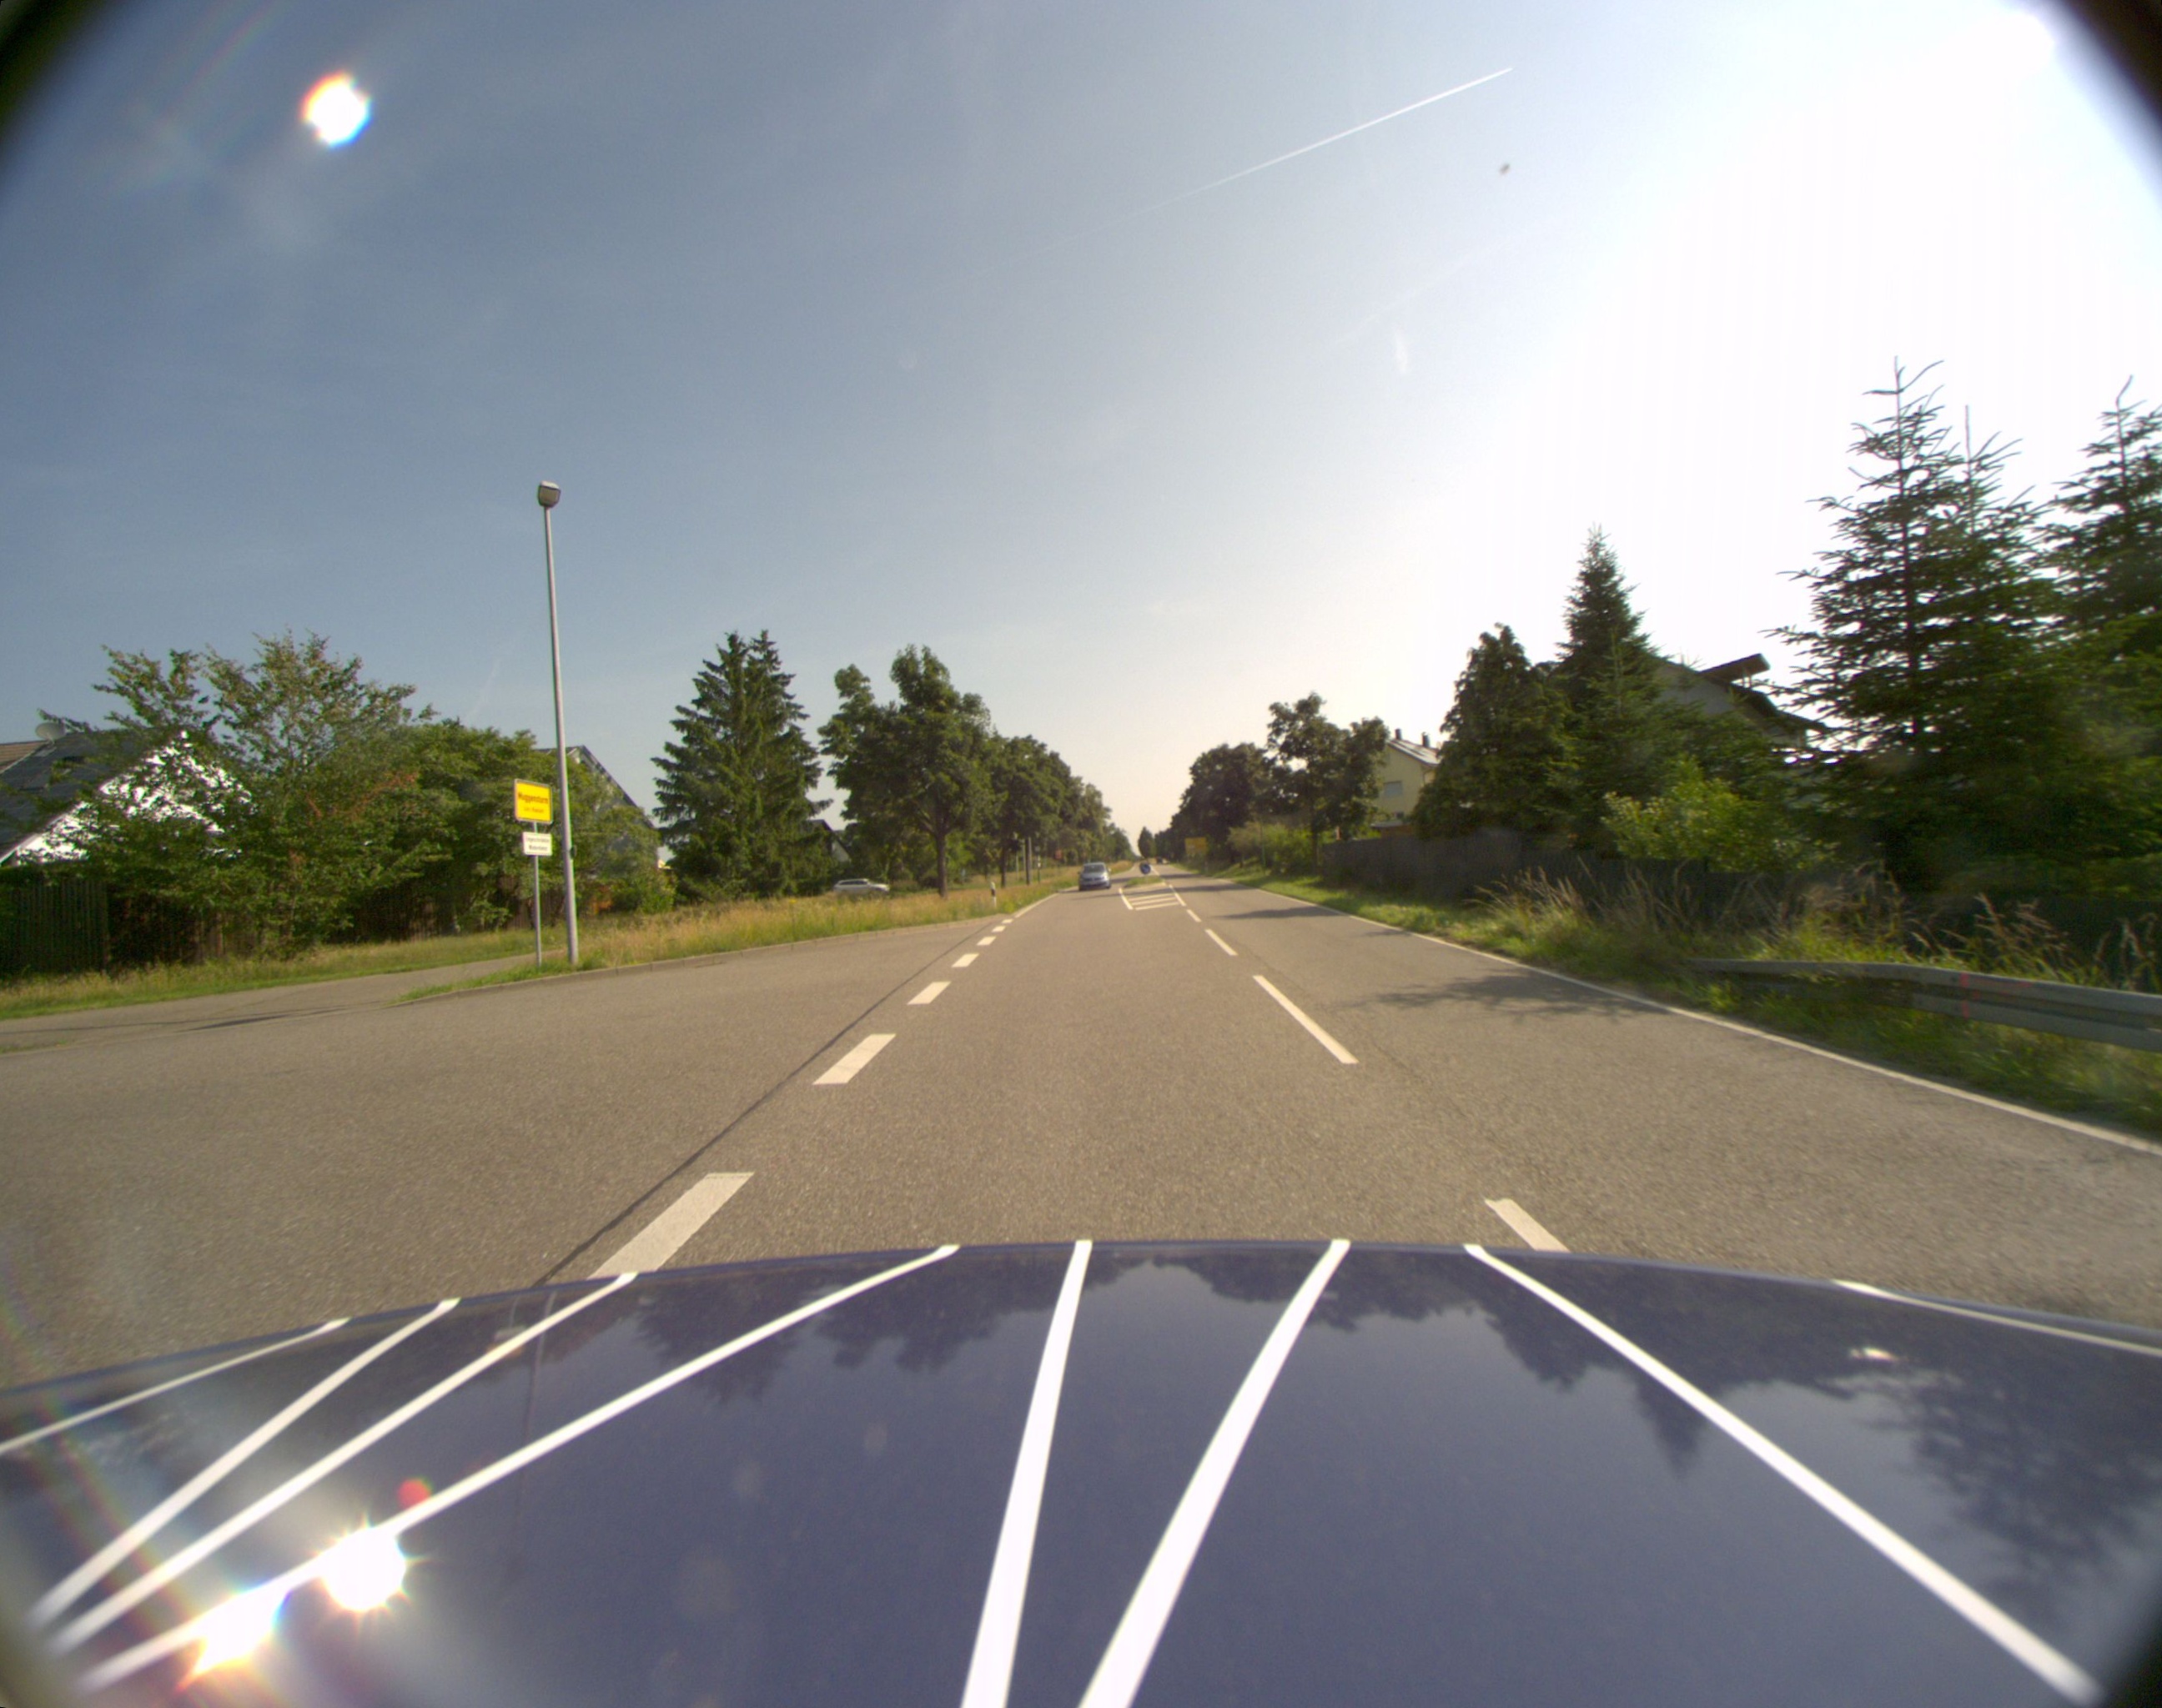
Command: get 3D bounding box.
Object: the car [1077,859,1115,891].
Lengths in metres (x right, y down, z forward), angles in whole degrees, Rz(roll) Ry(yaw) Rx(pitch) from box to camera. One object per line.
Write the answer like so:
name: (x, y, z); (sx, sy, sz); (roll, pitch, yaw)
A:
car: (0.885, 1.129, 42.989); (1.808, 1.592, 4.271); (-4, 0, 5)

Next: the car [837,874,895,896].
car: (-17.004, 2.435, 60.238); (3.997, 1.425, 1.815); (-3, 0, 0)
